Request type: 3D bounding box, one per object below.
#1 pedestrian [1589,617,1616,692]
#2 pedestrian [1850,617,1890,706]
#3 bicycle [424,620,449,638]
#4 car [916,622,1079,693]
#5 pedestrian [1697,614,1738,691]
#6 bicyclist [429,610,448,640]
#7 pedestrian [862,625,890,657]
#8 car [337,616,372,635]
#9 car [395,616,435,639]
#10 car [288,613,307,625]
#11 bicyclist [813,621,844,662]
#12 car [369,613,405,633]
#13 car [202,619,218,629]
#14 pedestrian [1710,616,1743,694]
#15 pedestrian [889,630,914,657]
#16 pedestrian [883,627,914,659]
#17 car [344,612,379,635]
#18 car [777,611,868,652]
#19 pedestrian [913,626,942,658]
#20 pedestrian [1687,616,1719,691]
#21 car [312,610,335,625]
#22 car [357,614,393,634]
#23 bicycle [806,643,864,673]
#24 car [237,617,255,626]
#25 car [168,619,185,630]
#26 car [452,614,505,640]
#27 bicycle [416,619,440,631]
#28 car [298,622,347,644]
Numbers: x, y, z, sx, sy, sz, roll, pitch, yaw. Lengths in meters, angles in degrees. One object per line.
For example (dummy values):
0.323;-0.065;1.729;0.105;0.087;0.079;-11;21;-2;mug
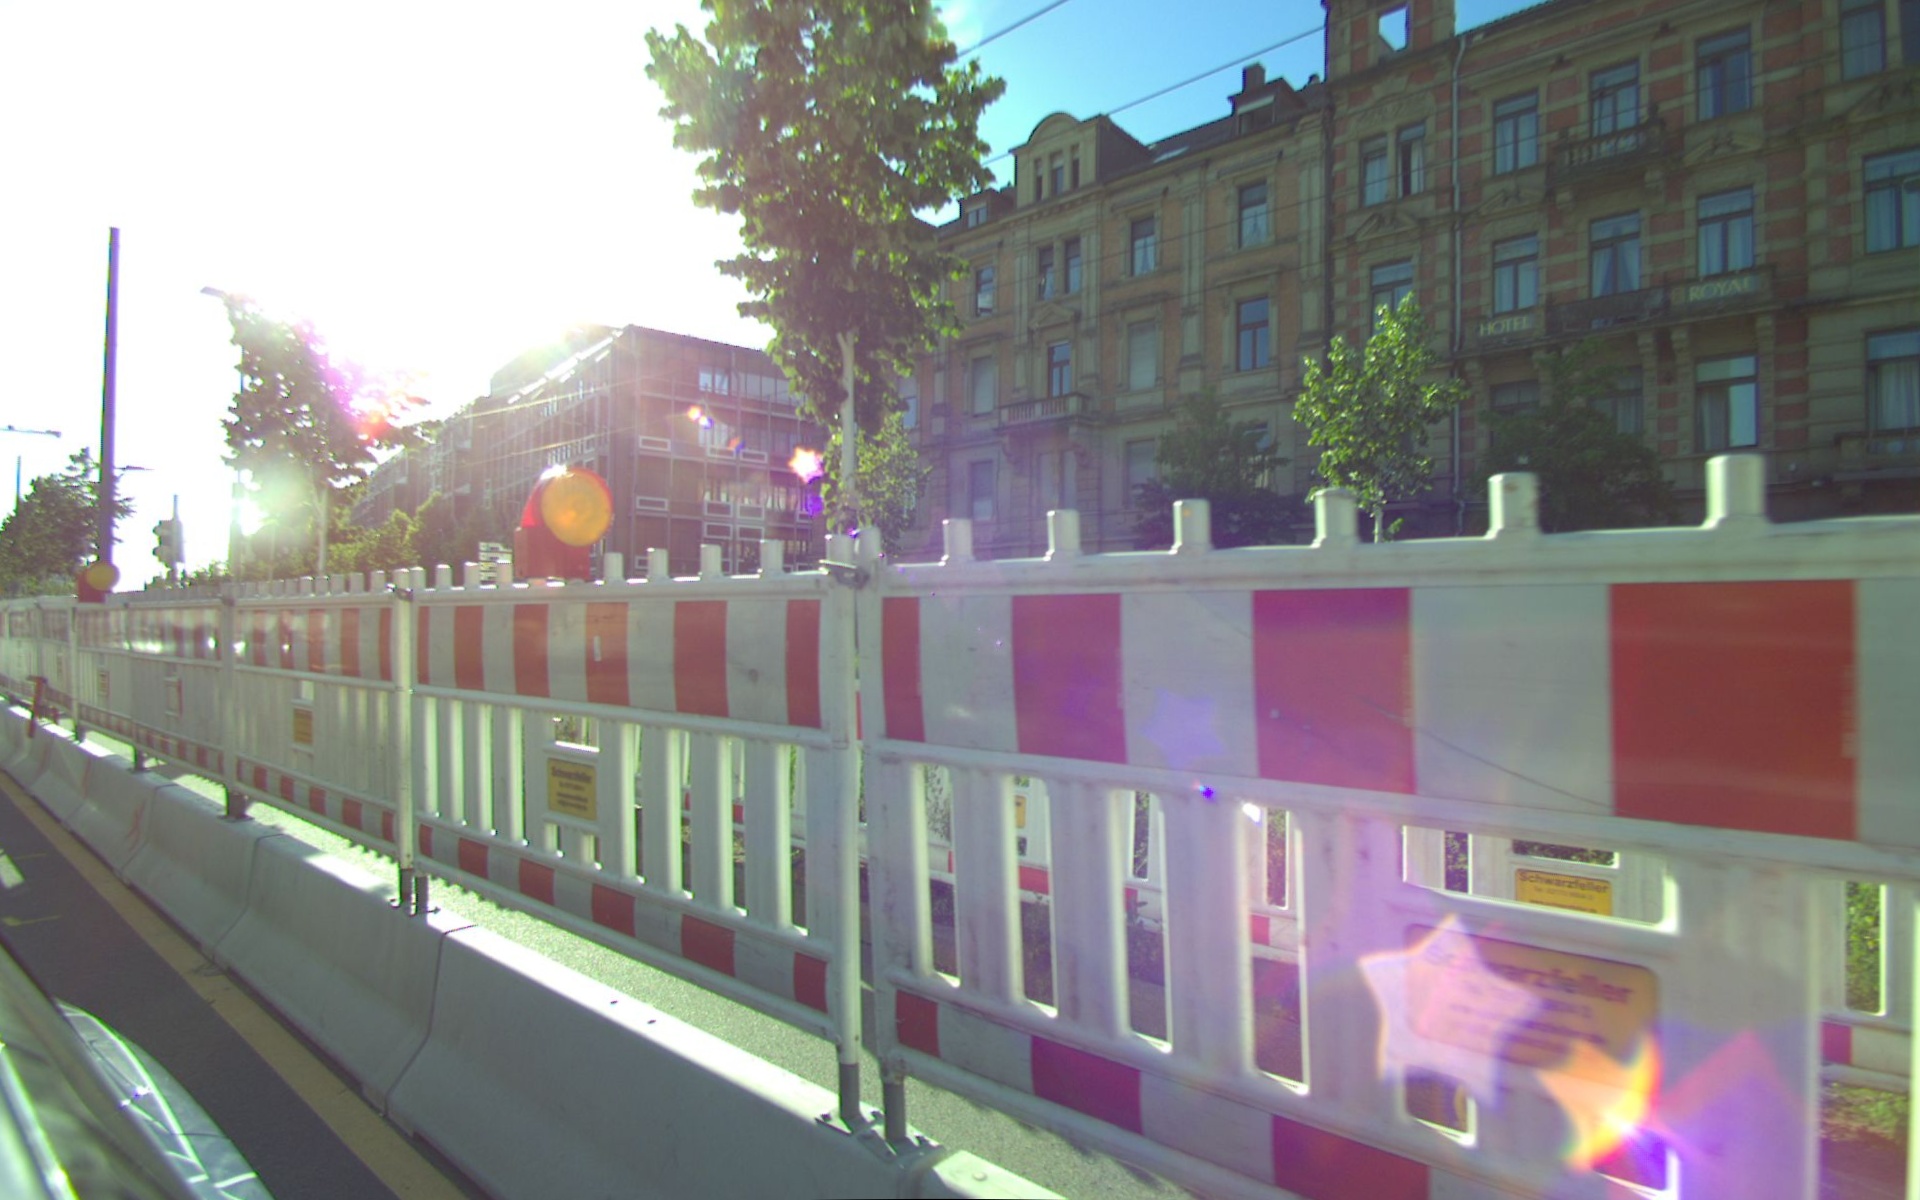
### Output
14.009;1.186;22.055;0.425;1.596;0.399;-1;0;42;pedestrian
16.684;1.109;18.563;0.533;1.596;0.481;-1;0;42;pedestrian
-30.012;1.650;58.005;1.827;0.985;0.687;-1;-2;43;bicycle
0.807;1.263;23.253;3.624;1.494;1.577;-1;-2;43;car
16.156;1.104;21.593;0.474;1.596;0.485;-1;0;-12;pedestrian
-29.817;1.430;57.836;0.882;1.670;0.687;-1;-2;43;bicyclist
-3.395;1.634;40.732;0.929;1.256;0.682;-1;-2;43;pedestrian
-50.974;2.148;85.145;1.708;1.480;4.510;0;-1;-42;car
-37.266;1.862;69.118;1.628;1.566;3.973;1;-2;-40;car
-89.219;2.525;136.280;1.700;1.555;3.637;0;-1;-41;car
-4.128;1.294;31.730;0.738;1.249;0.630;-1;-2;43;bicyclist
-41.601;1.665;73.413;1.604;1.452;3.825;0;-1;-40;car
-117.858;3.781;159.009;1.608;1.507;3.784;3;-3;-42;car
16.074;1.146;21.222;0.401;1.596;0.367;-1;0;3;pedestrian
-2.345;1.742;40.765;0.736;1.067;0.682;-1;-2;43;pedestrian
-2.376;1.655;39.280;0.929;1.217;0.782;-1;-2;43;pedestrian
-47.853;1.889;80.873;1.729;1.785;4.337;0;-1;-40;car
-6.778;1.573;50.379;1.895;1.918;4.467;-1;-2;37;car
-1.254;1.607;39.004;0.929;1.217;0.682;-1;-2;43;pedestrian
16.055;1.151;21.877;0.379;1.596;0.392;-1;0;-18;pedestrian
-61.753;1.733;98.158;1.693;1.397;4.049;1;-2;-36;car
-44.367;1.818;76.692;1.716;1.548;3.890;1;-2;-40;car
-3.897;1.777;31.507;2.031;0.864;0.630;-1;-2;43;bicycle
-109.183;3.329;154.727;1.695;1.397;4.044;1;-2;-42;car
-123.693;3.828;159.730;1.707;1.760;4.126;1;-2;-42;car
-28.746;1.580;60.389;1.710;1.472;3.902;-1;0;-45;car
-49.761;2.385;94.630;1.903;1.080;0.426;2;-3;-36;bicycle
-43.669;2.221;69.315;4.069;1.431;1.833;-1;0;43;car
